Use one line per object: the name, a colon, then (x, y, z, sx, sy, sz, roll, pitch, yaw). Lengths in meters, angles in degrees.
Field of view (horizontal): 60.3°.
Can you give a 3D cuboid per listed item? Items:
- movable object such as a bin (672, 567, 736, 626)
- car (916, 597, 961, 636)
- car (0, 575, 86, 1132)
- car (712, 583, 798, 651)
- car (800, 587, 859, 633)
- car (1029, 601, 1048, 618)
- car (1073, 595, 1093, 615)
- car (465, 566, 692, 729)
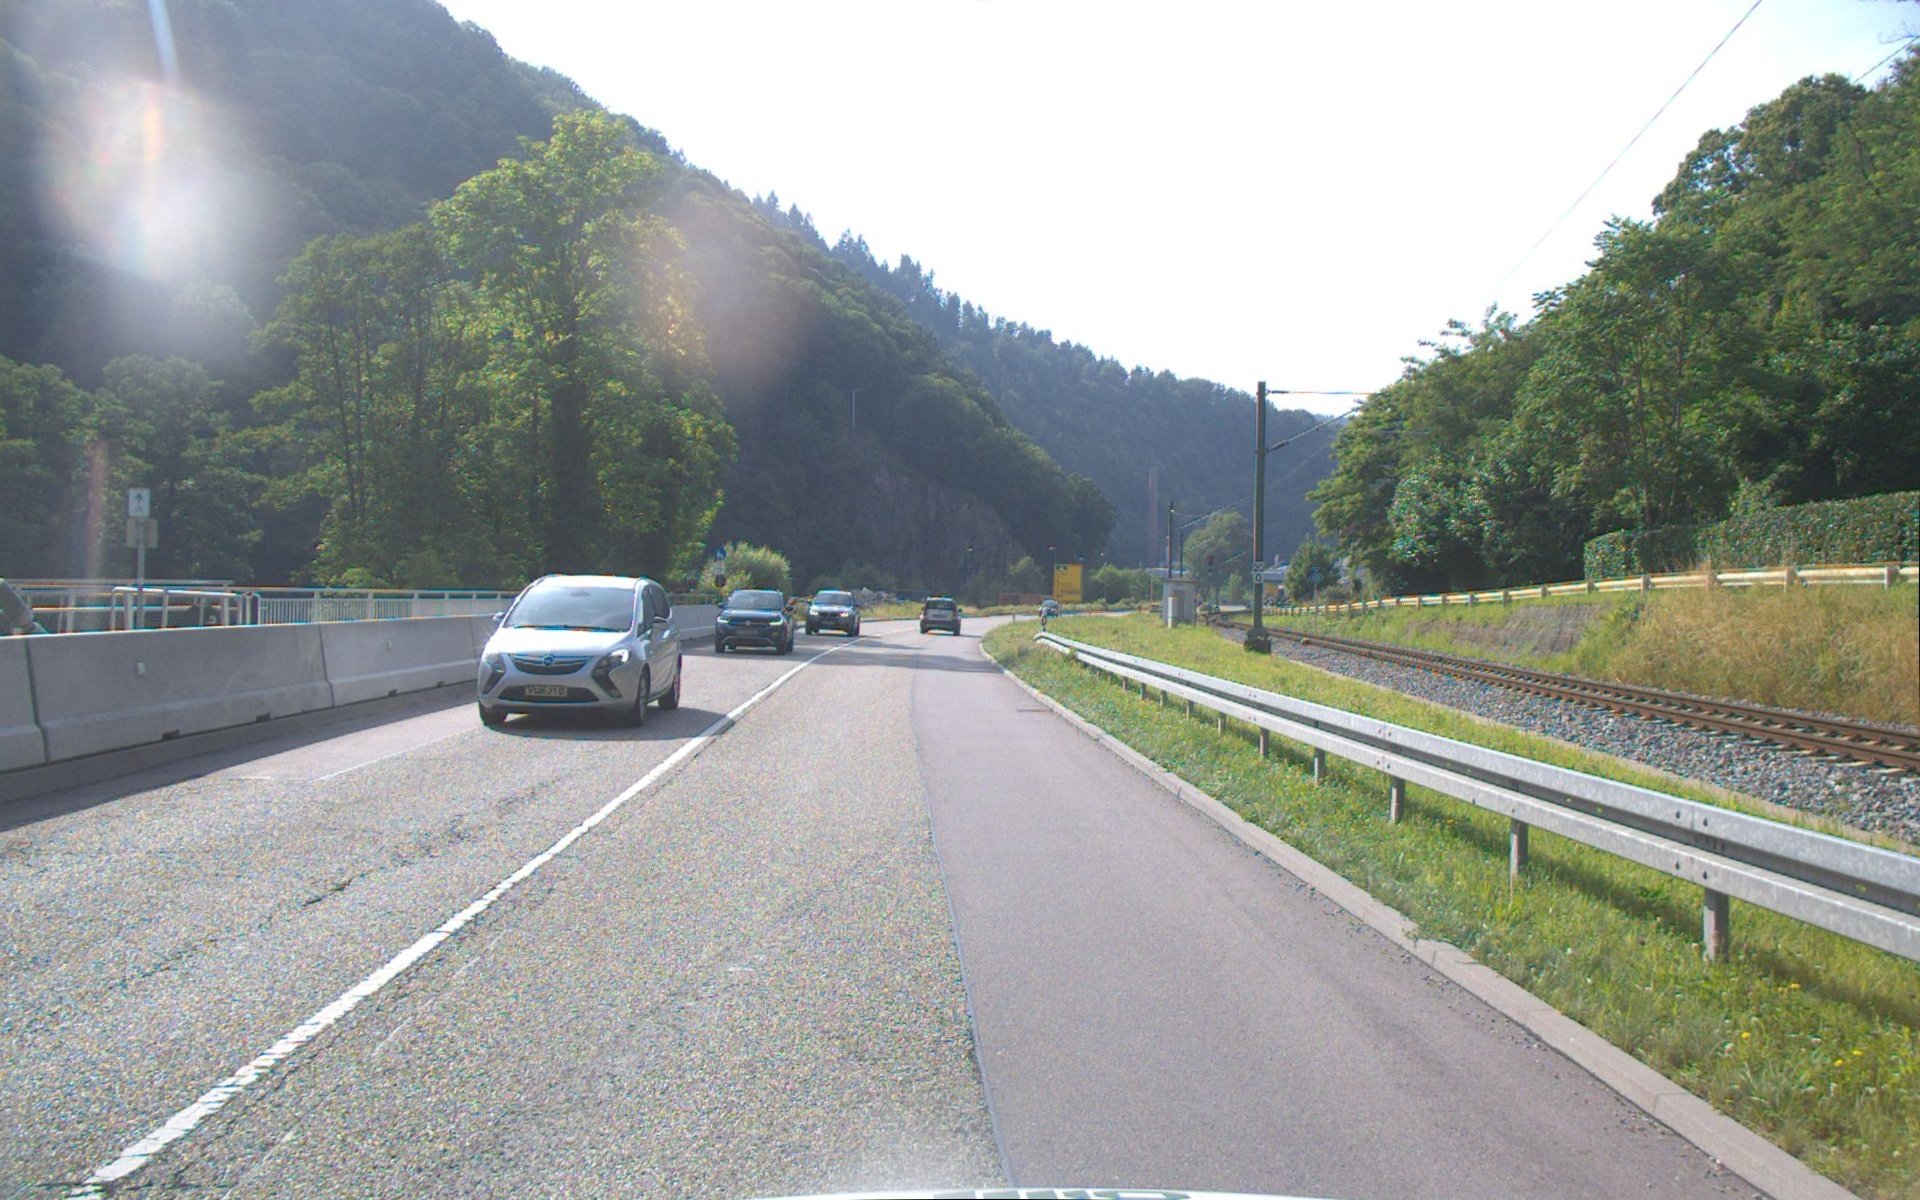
movable object such as a bin: (-18.192, -0.208, 118.103, 2.643, 4.016, 9.993, 0, 0, 2)
car: (-0.947, 0.754, 76.320, 1.952, 1.754, 3.990, 0, 0, 1)
car: (-3.500, 0.672, 2.429, 1.799, 1.522, 4.935, 1, 0, 0)
car: (-5.166, 0.400, 42.155, 1.763, 1.583, 4.330, 2, 0, -2)
car: (-4.991, 0.367, 63.907, 1.953, 1.657, 4.506, 2, 0, -1)
car: (8.675, 1.025, 182.825, 1.812, 1.815, 4.687, 3, 0, 5)
car: (12.684, 0.492, 171.049, 1.951, 2.049, 4.003, -1, 0, 5)
car: (-4.376, 0.488, 19.667, 1.737, 1.699, 4.645, 0, 0, -2)
